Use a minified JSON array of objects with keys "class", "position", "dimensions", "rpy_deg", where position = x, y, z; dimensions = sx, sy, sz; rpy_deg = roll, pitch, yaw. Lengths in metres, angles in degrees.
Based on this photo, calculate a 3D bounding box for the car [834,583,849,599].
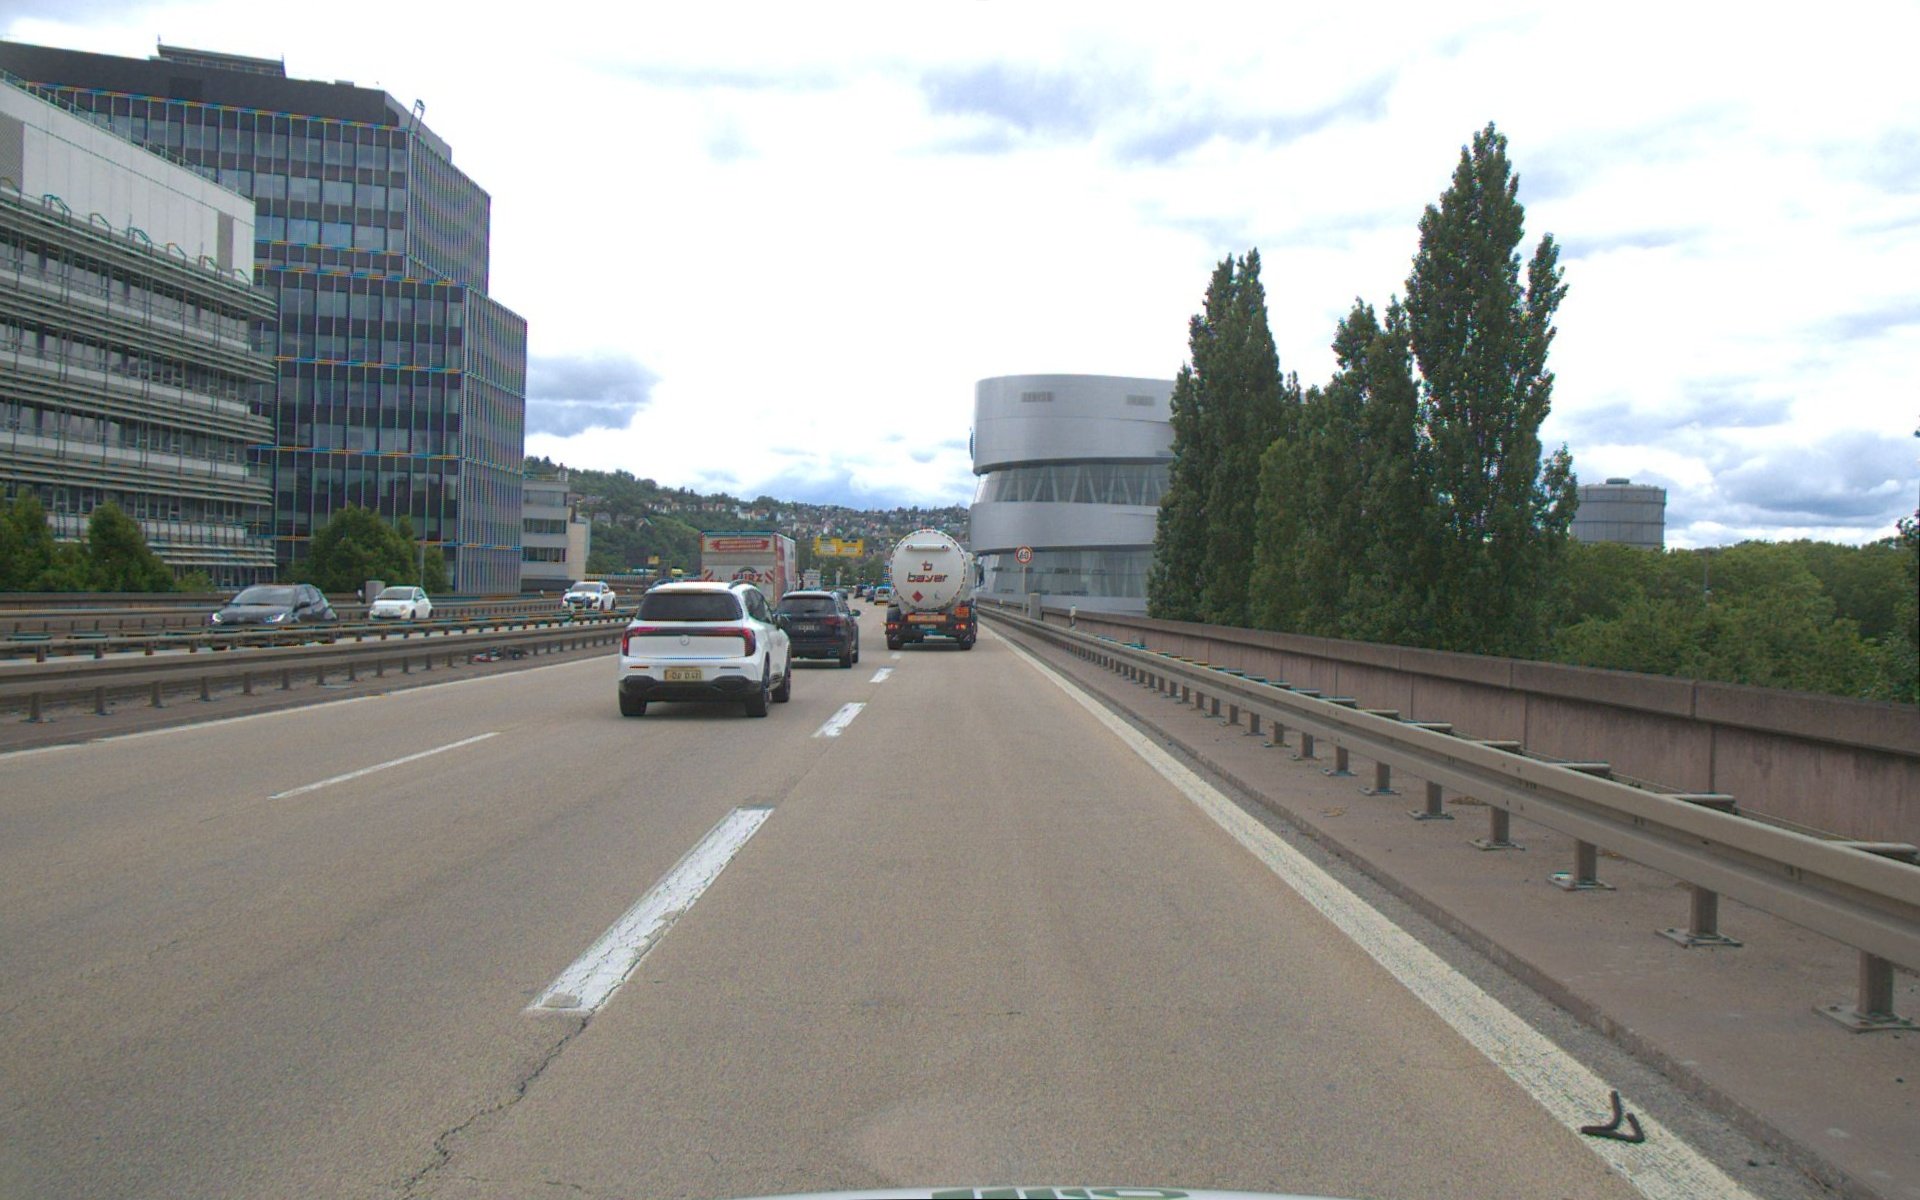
[{"class":"car","position":[-15.141,-1.193,211.213],"dimensions":[1.954,2.049,3.997],"rpy_deg":[0,0,-4]}]

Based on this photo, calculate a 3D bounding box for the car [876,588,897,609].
[{"class":"car","position":[-7.408,-0.139,166.658],"dimensions":[1.954,2.049,3.997],"rpy_deg":[0,0,-4]}]

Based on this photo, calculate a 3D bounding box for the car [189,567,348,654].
[{"class":"car","position":[-15.361,0.213,36.962],"dimensions":[1.953,1.824,3.999],"rpy_deg":[0,0,-2]}]

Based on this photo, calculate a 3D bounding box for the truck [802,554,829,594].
[{"class":"truck","position":[-14.905,-2.662,170.835],"dimensions":[2.346,3.961,5.942],"rpy_deg":[0,0,-1]}]

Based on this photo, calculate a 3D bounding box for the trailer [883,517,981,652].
[{"class":"trailer","position":[-0.737,-0.478,52.299],"dimensions":[2.734,3.803,11.156],"rpy_deg":[0,0,1]}]

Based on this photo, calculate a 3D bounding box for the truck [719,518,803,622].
[{"class":"truck","position":[-7.391,-1.089,61.805],"dimensions":[2.636,3.754,4.438],"rpy_deg":[0,0,-1]}]

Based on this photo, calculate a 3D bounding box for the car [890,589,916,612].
[{"class":"car","position":[-4.627,0.044,134.496],"dimensions":[1.955,1.564,3.998],"rpy_deg":[7,-1,-2]}]

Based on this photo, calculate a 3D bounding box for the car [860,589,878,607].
[{"class":"car","position":[-10.510,-0.281,190.370],"dimensions":[1.954,2.049,3.997],"rpy_deg":[0,0,-4]}]

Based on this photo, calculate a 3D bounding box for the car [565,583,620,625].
[{"class":"car","position":[-18.313,0.185,82.579],"dimensions":[1.953,2.049,3.999],"rpy_deg":[0,0,-2]}]

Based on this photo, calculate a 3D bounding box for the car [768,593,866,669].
[{"class":"car","position":[-3.115,0.656,36.722],"dimensions":[1.809,1.531,4.264],"rpy_deg":[2,0,-1]}]

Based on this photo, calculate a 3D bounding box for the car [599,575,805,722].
[{"class":"car","position":[-3.319,0.593,22.258],"dimensions":[1.953,1.697,4.891],"rpy_deg":[2,0,0]}]

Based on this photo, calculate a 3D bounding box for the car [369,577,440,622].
[{"class":"car","position":[-21.435,-0.044,63.974],"dimensions":[1.611,1.690,3.599],"rpy_deg":[0,0,-2]}]

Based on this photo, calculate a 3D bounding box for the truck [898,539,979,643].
[{"class":"truck","position":[-0.687,-0.322,58.820],"dimensions":[2.712,3.490,5.965],"rpy_deg":[0,0,0]}]

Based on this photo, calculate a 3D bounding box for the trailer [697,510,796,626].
[{"class":"trailer","position":[-7.316,-1.065,57.628],"dimensions":[2.636,3.754,7.311],"rpy_deg":[0,0,-1]}]
